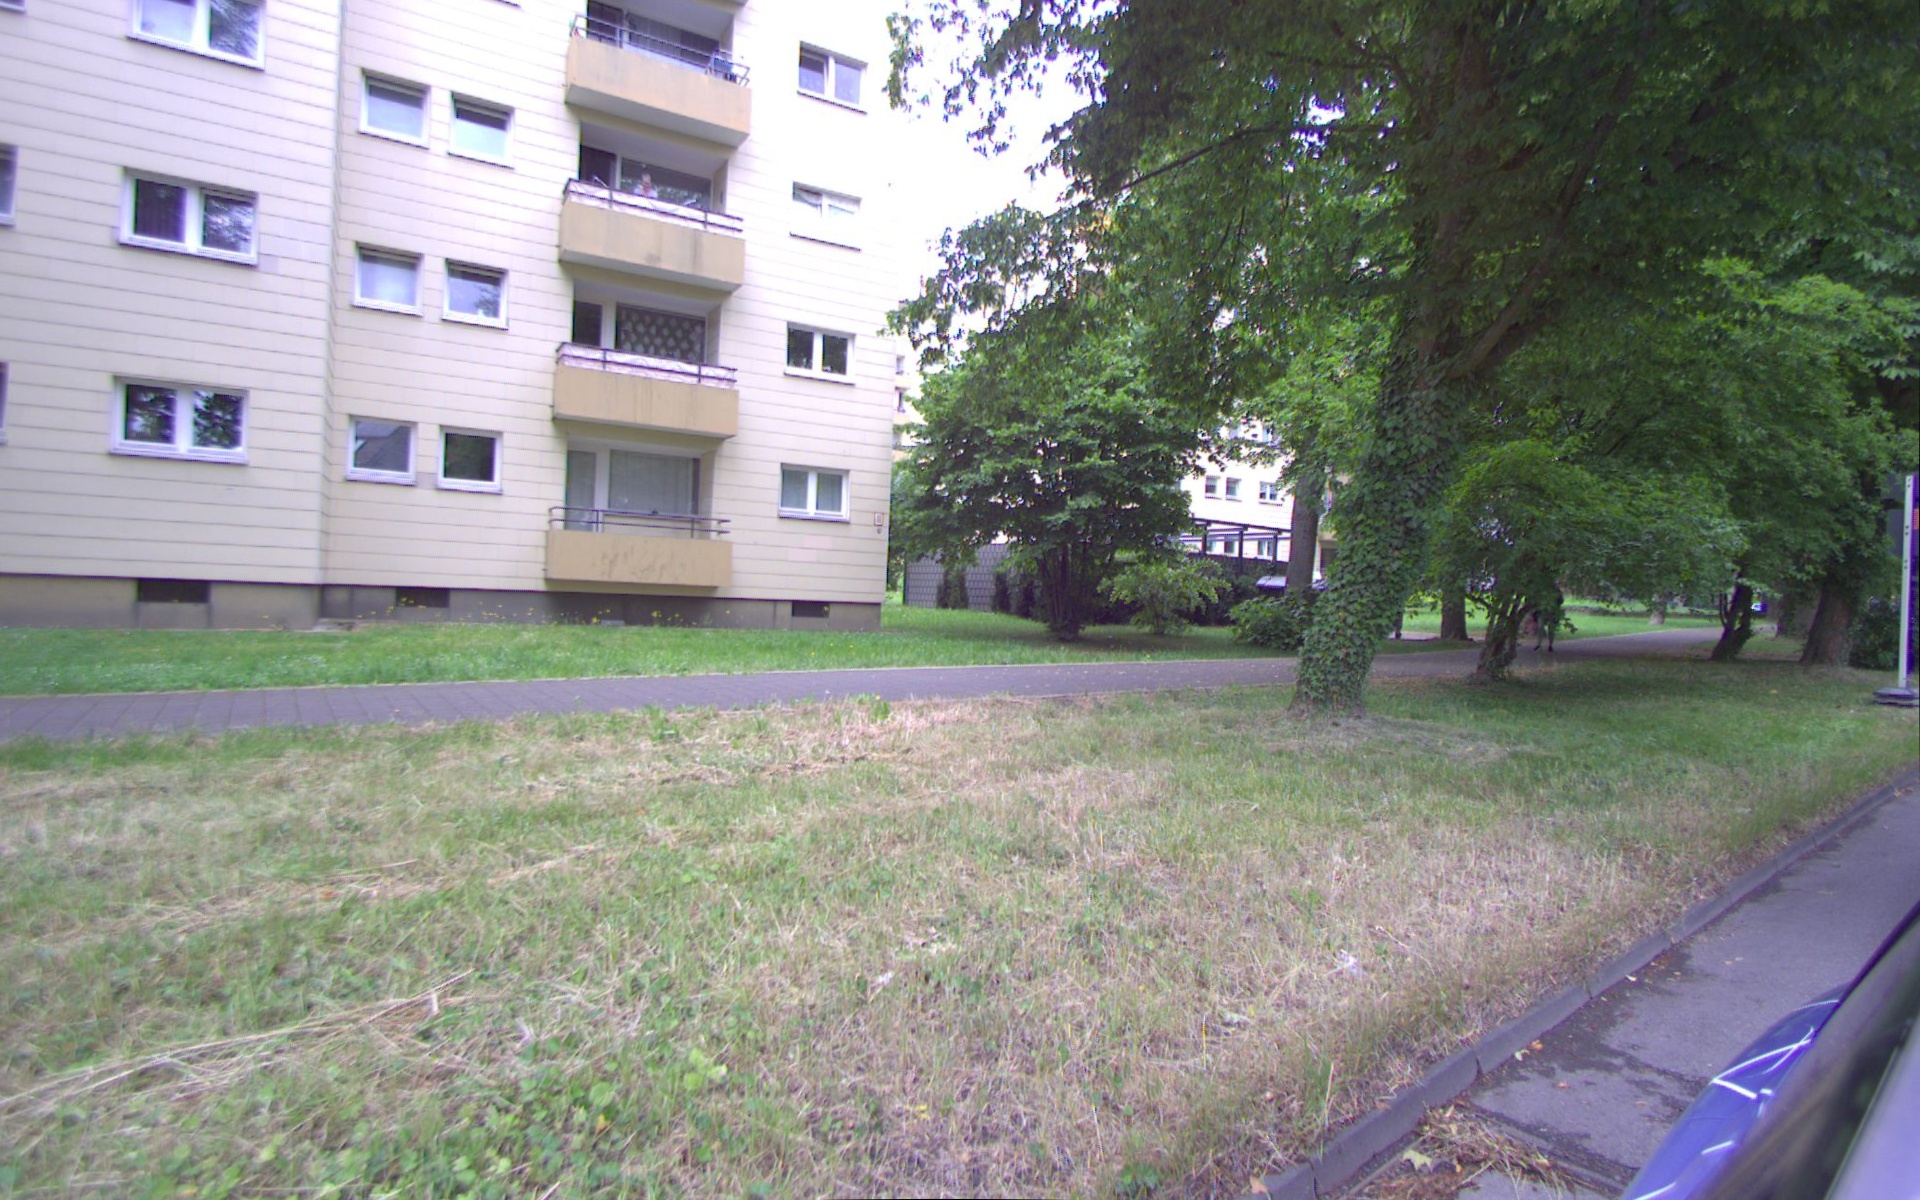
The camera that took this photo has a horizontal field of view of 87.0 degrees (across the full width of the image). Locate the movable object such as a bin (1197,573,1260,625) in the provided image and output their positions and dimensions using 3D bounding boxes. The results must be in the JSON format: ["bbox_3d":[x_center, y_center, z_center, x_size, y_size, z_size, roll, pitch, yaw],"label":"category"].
[{"bbox_3d":[7.404,-0.036,27.919,1.190,1.358,1.328,3,2,41],"label":"movable object such as a bin"}]

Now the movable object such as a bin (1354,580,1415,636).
[{"bbox_3d":[11.345,0.201,27.067,1.190,1.431,1.094,3,2,41],"label":"movable object such as a bin"}]

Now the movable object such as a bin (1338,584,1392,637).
[{"bbox_3d":[10.544,0.261,26.349,1.022,1.320,0.946,3,2,41],"label":"movable object such as a bin"}]

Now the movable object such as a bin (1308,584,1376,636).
[{"bbox_3d":[9.656,0.239,25.575,1.190,1.236,1.329,3,2,41],"label":"movable object such as a bin"}]

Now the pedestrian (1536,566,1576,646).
[{"bbox_3d":[13.551,0.136,23.019,0.560,1.761,0.565,1,2,-41],"label":"pedestrian"}]

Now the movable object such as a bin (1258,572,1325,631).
[{"bbox_3d":[8.667,0.023,26.447,1.190,1.475,1.328,3,2,41],"label":"movable object such as a bin"}]
